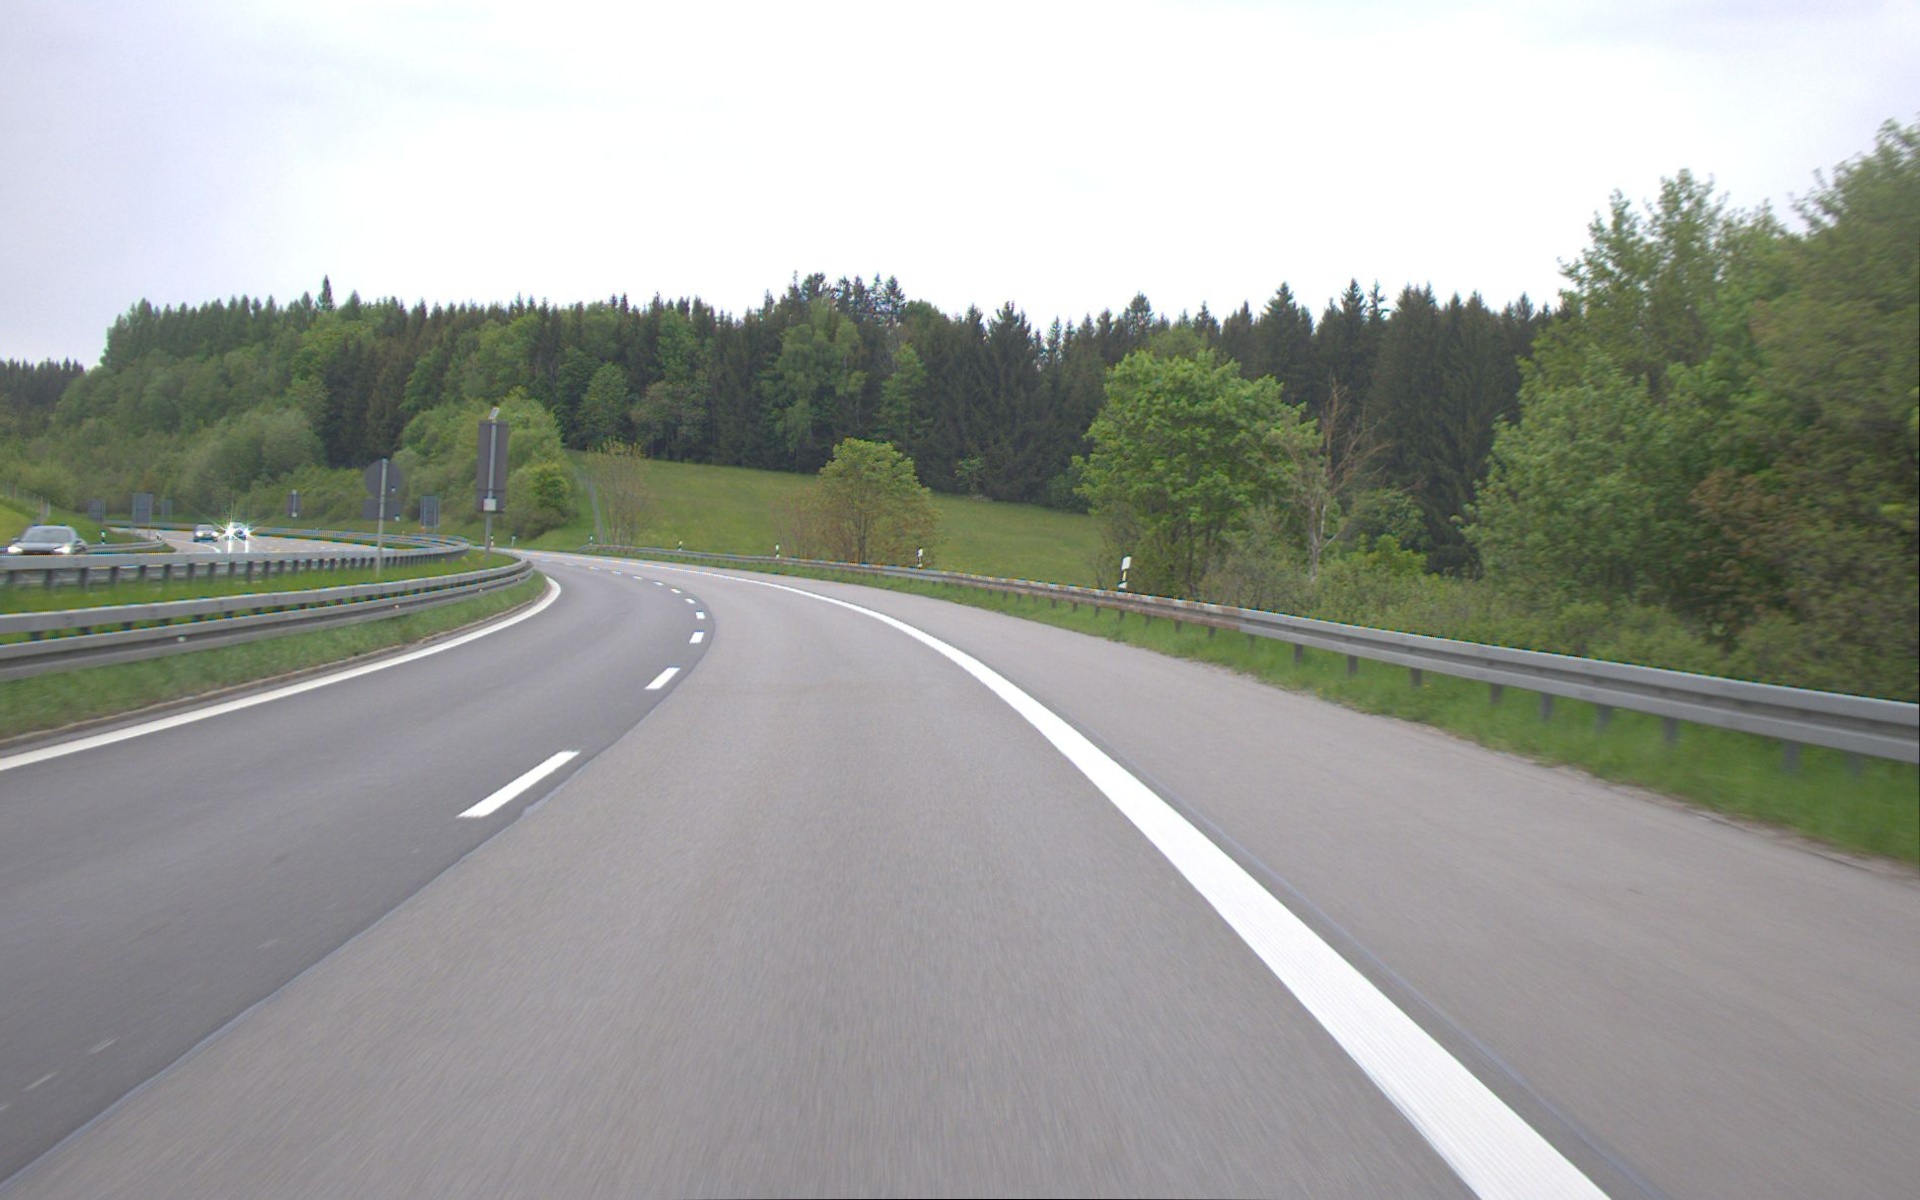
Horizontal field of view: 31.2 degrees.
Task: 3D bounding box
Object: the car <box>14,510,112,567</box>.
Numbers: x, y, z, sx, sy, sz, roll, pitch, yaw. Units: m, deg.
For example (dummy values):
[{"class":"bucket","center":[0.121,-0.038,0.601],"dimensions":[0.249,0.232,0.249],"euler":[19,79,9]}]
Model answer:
[{"class":"car","center":[-25.949,-1.786,99.615],"dimensions":[1.993,1.493,4.152],"euler":[4,1,-5]}]
